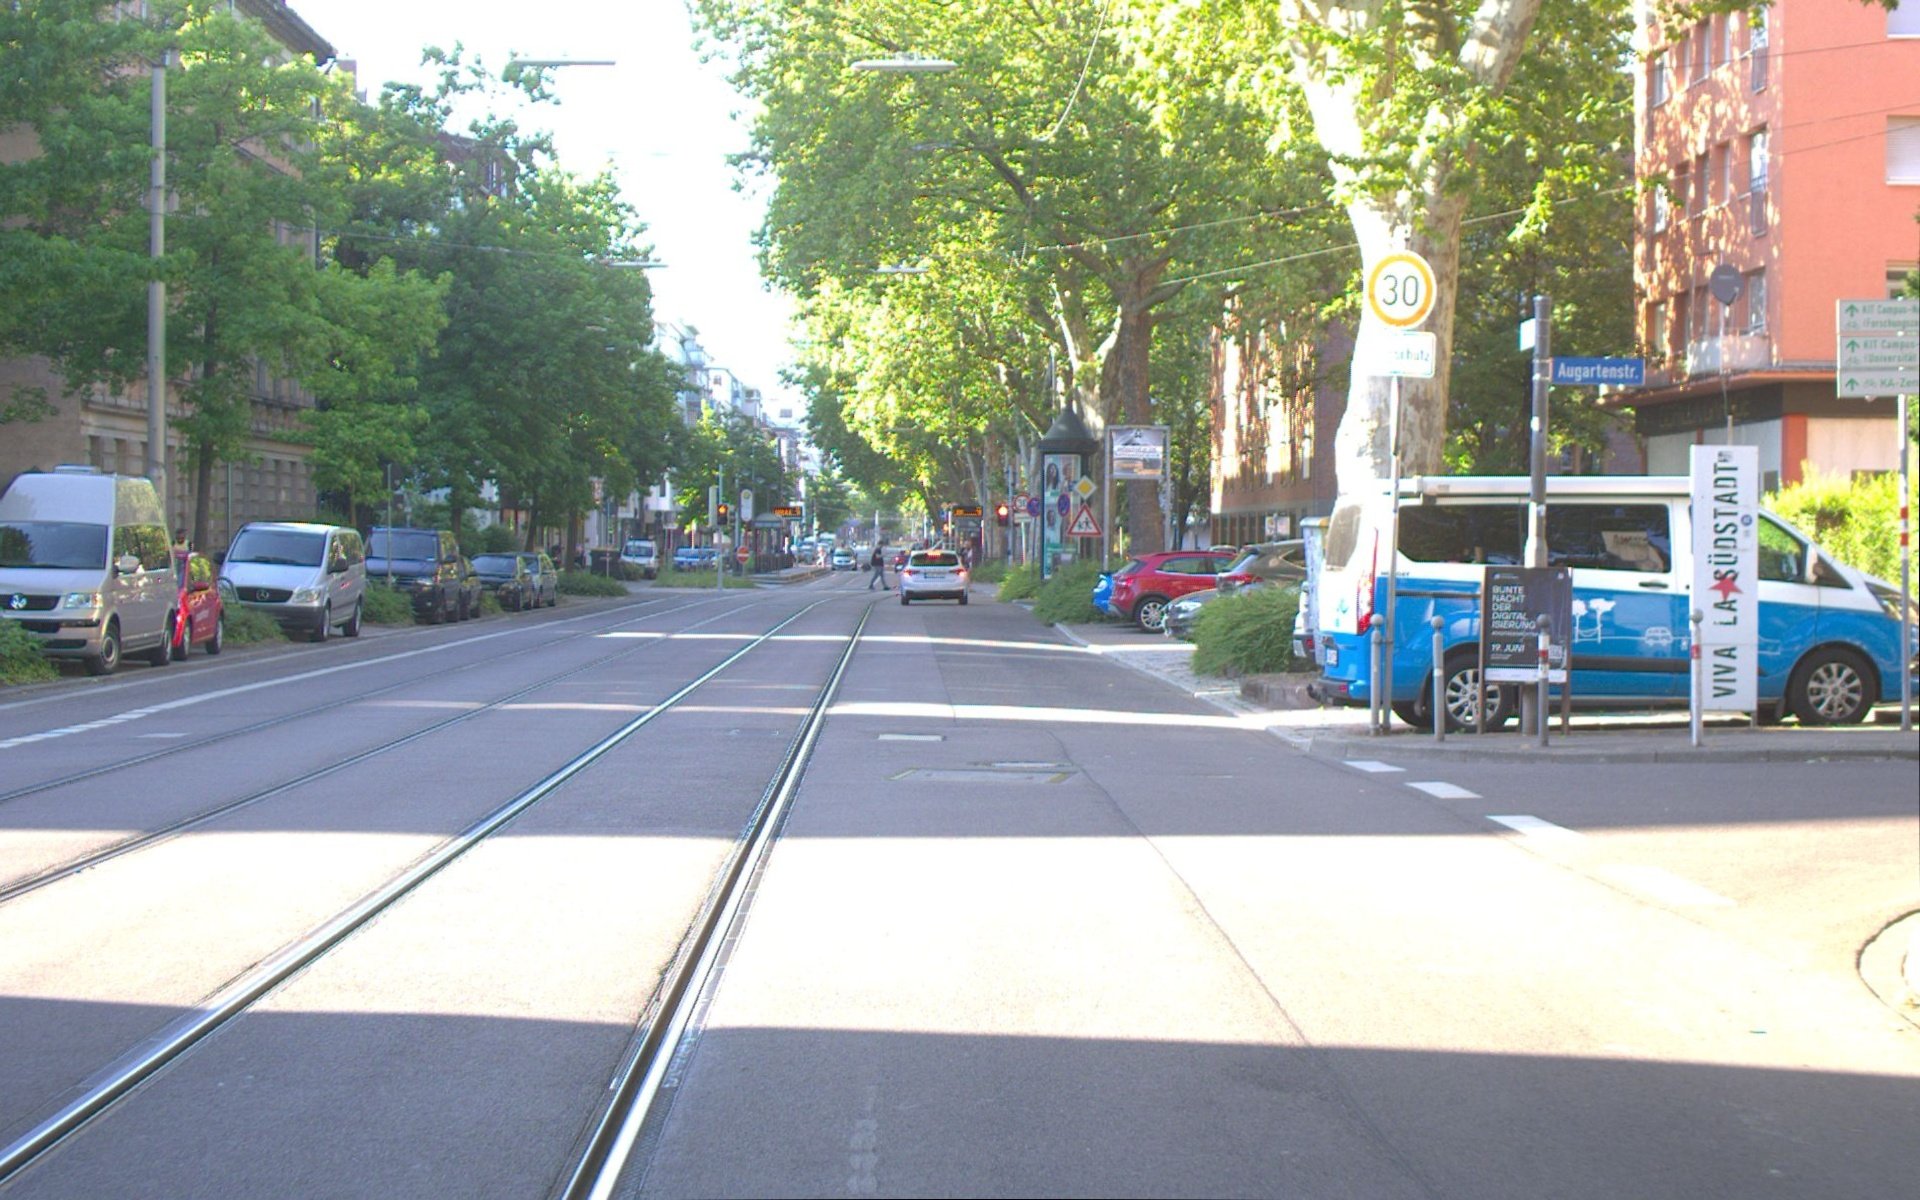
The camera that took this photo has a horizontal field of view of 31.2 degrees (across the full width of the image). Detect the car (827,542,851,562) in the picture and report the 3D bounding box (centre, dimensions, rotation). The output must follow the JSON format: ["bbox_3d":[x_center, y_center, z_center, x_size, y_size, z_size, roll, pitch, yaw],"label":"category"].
[{"bbox_3d":[-8.526,-3.386,241.780,1.635,1.414,3.591,0,1,-3],"label":"car"}]

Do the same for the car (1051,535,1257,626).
[{"bbox_3d":[3.842,-0.409,68.647,3.987,1.778,2.000,0,1,0],"label":"car"}]

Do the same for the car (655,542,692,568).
[{"bbox_3d":[-15.797,-2.514,189.602,1.918,1.414,3.591,0,1,-3],"label":"car"}]

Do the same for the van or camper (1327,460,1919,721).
[{"bbox_3d":[6.009,-0.121,28.466,5.554,2.006,2.245,0,4,-5],"label":"van or camper"}]

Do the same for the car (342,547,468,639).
[{"bbox_3d":[-11.503,-0.176,71.490,1.993,1.854,4.179,0,1,-1],"label":"car"}]

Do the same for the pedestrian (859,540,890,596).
[{"bbox_3d":[-3.113,-1.172,124.815,1.048,2.007,1.081,0,1,2],"label":"pedestrian"}]

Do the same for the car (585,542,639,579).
[{"bbox_3d":[-13.673,-1.571,135.245,1.918,1.414,3.721,0,1,-3],"label":"car"}]

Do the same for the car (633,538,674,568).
[{"bbox_3d":[-15.353,-2.335,172.216,1.918,1.414,3.591,-2,0,-4],"label":"car"}]

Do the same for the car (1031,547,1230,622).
[{"bbox_3d":[3.487,-0.329,70.952,3.987,1.515,2.000,0,1,0],"label":"car"}]

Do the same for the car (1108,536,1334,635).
[{"bbox_3d":[4.759,-0.280,63.109,3.987,1.778,2.000,0,1,0],"label":"car"}]

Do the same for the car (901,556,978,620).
[{"bbox_3d":[-0.546,-0.325,89.217,1.918,1.579,3.791,-1,1,-1],"label":"car"}]

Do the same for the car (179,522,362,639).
[{"bbox_3d":[-11.386,-0.346,57.070,2.173,1.854,4.659,0,1,-1],"label":"car"}]

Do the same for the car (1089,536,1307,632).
[{"bbox_3d":[4.497,-0.315,65.390,3.987,1.778,2.000,0,1,0],"label":"car"}]

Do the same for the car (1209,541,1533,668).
[{"bbox_3d":[5.339,0.041,45.037,3.987,1.603,2.000,0,1,0],"label":"car"}]

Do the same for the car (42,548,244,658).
[{"bbox_3d":[-11.286,0.008,47.762,1.876,1.455,4.207,0,1,-1],"label":"car"}]

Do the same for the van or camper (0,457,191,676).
[{"bbox_3d":[-11.079,-0.434,42.391,2.079,2.524,5.318,0,1,-1],"label":"van or camper"}]

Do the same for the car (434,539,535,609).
[{"bbox_3d":[-12.064,-0.685,87.406,1.993,1.739,4.659,0,1,-1],"label":"car"}]
